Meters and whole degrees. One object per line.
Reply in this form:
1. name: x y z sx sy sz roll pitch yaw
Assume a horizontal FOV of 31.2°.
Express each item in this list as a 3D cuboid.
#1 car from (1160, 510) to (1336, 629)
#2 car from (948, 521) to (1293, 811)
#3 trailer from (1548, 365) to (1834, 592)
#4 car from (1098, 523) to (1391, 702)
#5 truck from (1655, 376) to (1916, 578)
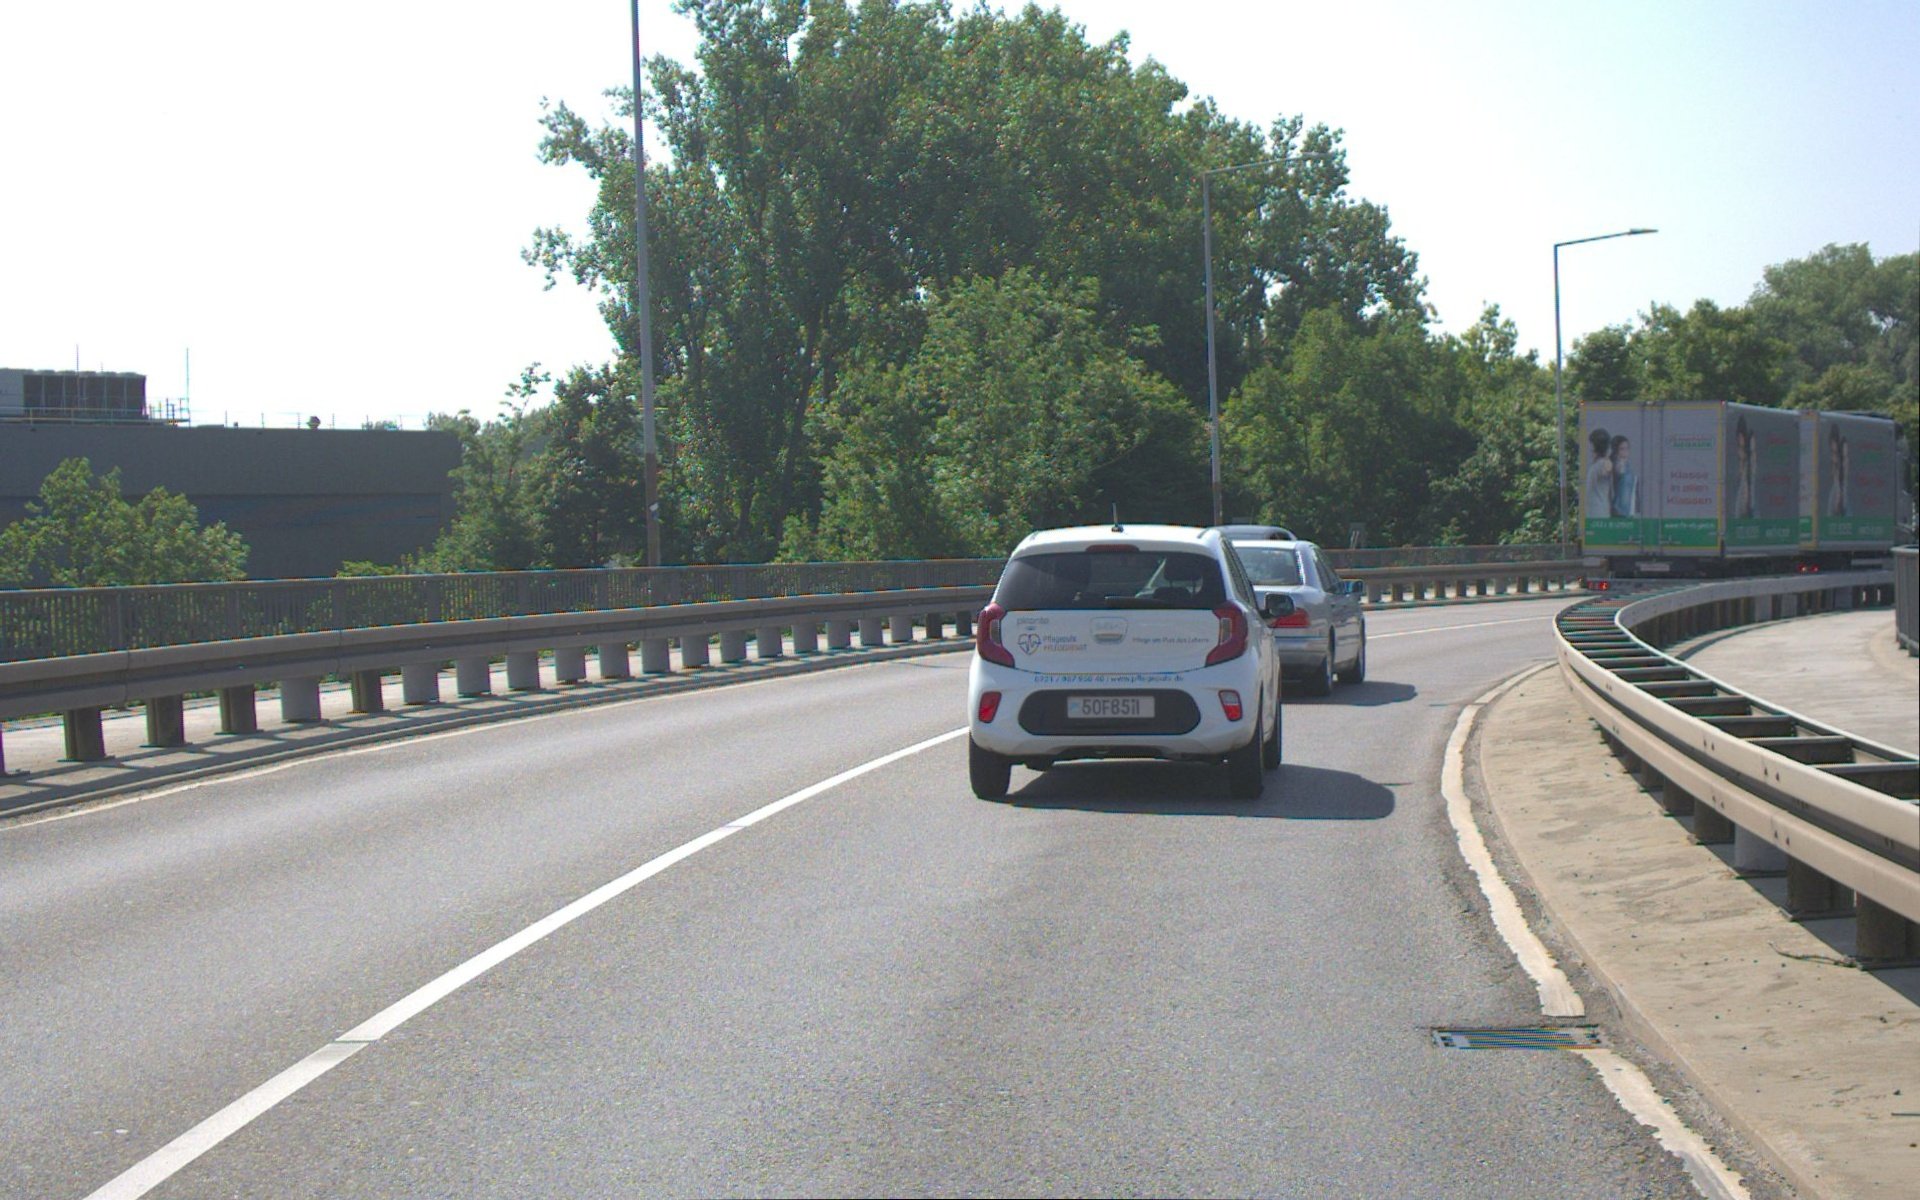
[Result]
1. car: 4.309 -0.485 50.824 1.733 1.619 4.300 0 2 17
2. car: 1.033 0.308 20.151 1.702 1.489 3.999 1 1 7
3. trailer: 13.247 -2.215 61.726 3.229 3.745 7.815 3 3 25
4. car: 2.711 0.049 31.701 1.940 1.481 4.897 1 2 14
5. truck: 16.648 -2.494 68.890 3.265 3.745 8.359 3 3 26
